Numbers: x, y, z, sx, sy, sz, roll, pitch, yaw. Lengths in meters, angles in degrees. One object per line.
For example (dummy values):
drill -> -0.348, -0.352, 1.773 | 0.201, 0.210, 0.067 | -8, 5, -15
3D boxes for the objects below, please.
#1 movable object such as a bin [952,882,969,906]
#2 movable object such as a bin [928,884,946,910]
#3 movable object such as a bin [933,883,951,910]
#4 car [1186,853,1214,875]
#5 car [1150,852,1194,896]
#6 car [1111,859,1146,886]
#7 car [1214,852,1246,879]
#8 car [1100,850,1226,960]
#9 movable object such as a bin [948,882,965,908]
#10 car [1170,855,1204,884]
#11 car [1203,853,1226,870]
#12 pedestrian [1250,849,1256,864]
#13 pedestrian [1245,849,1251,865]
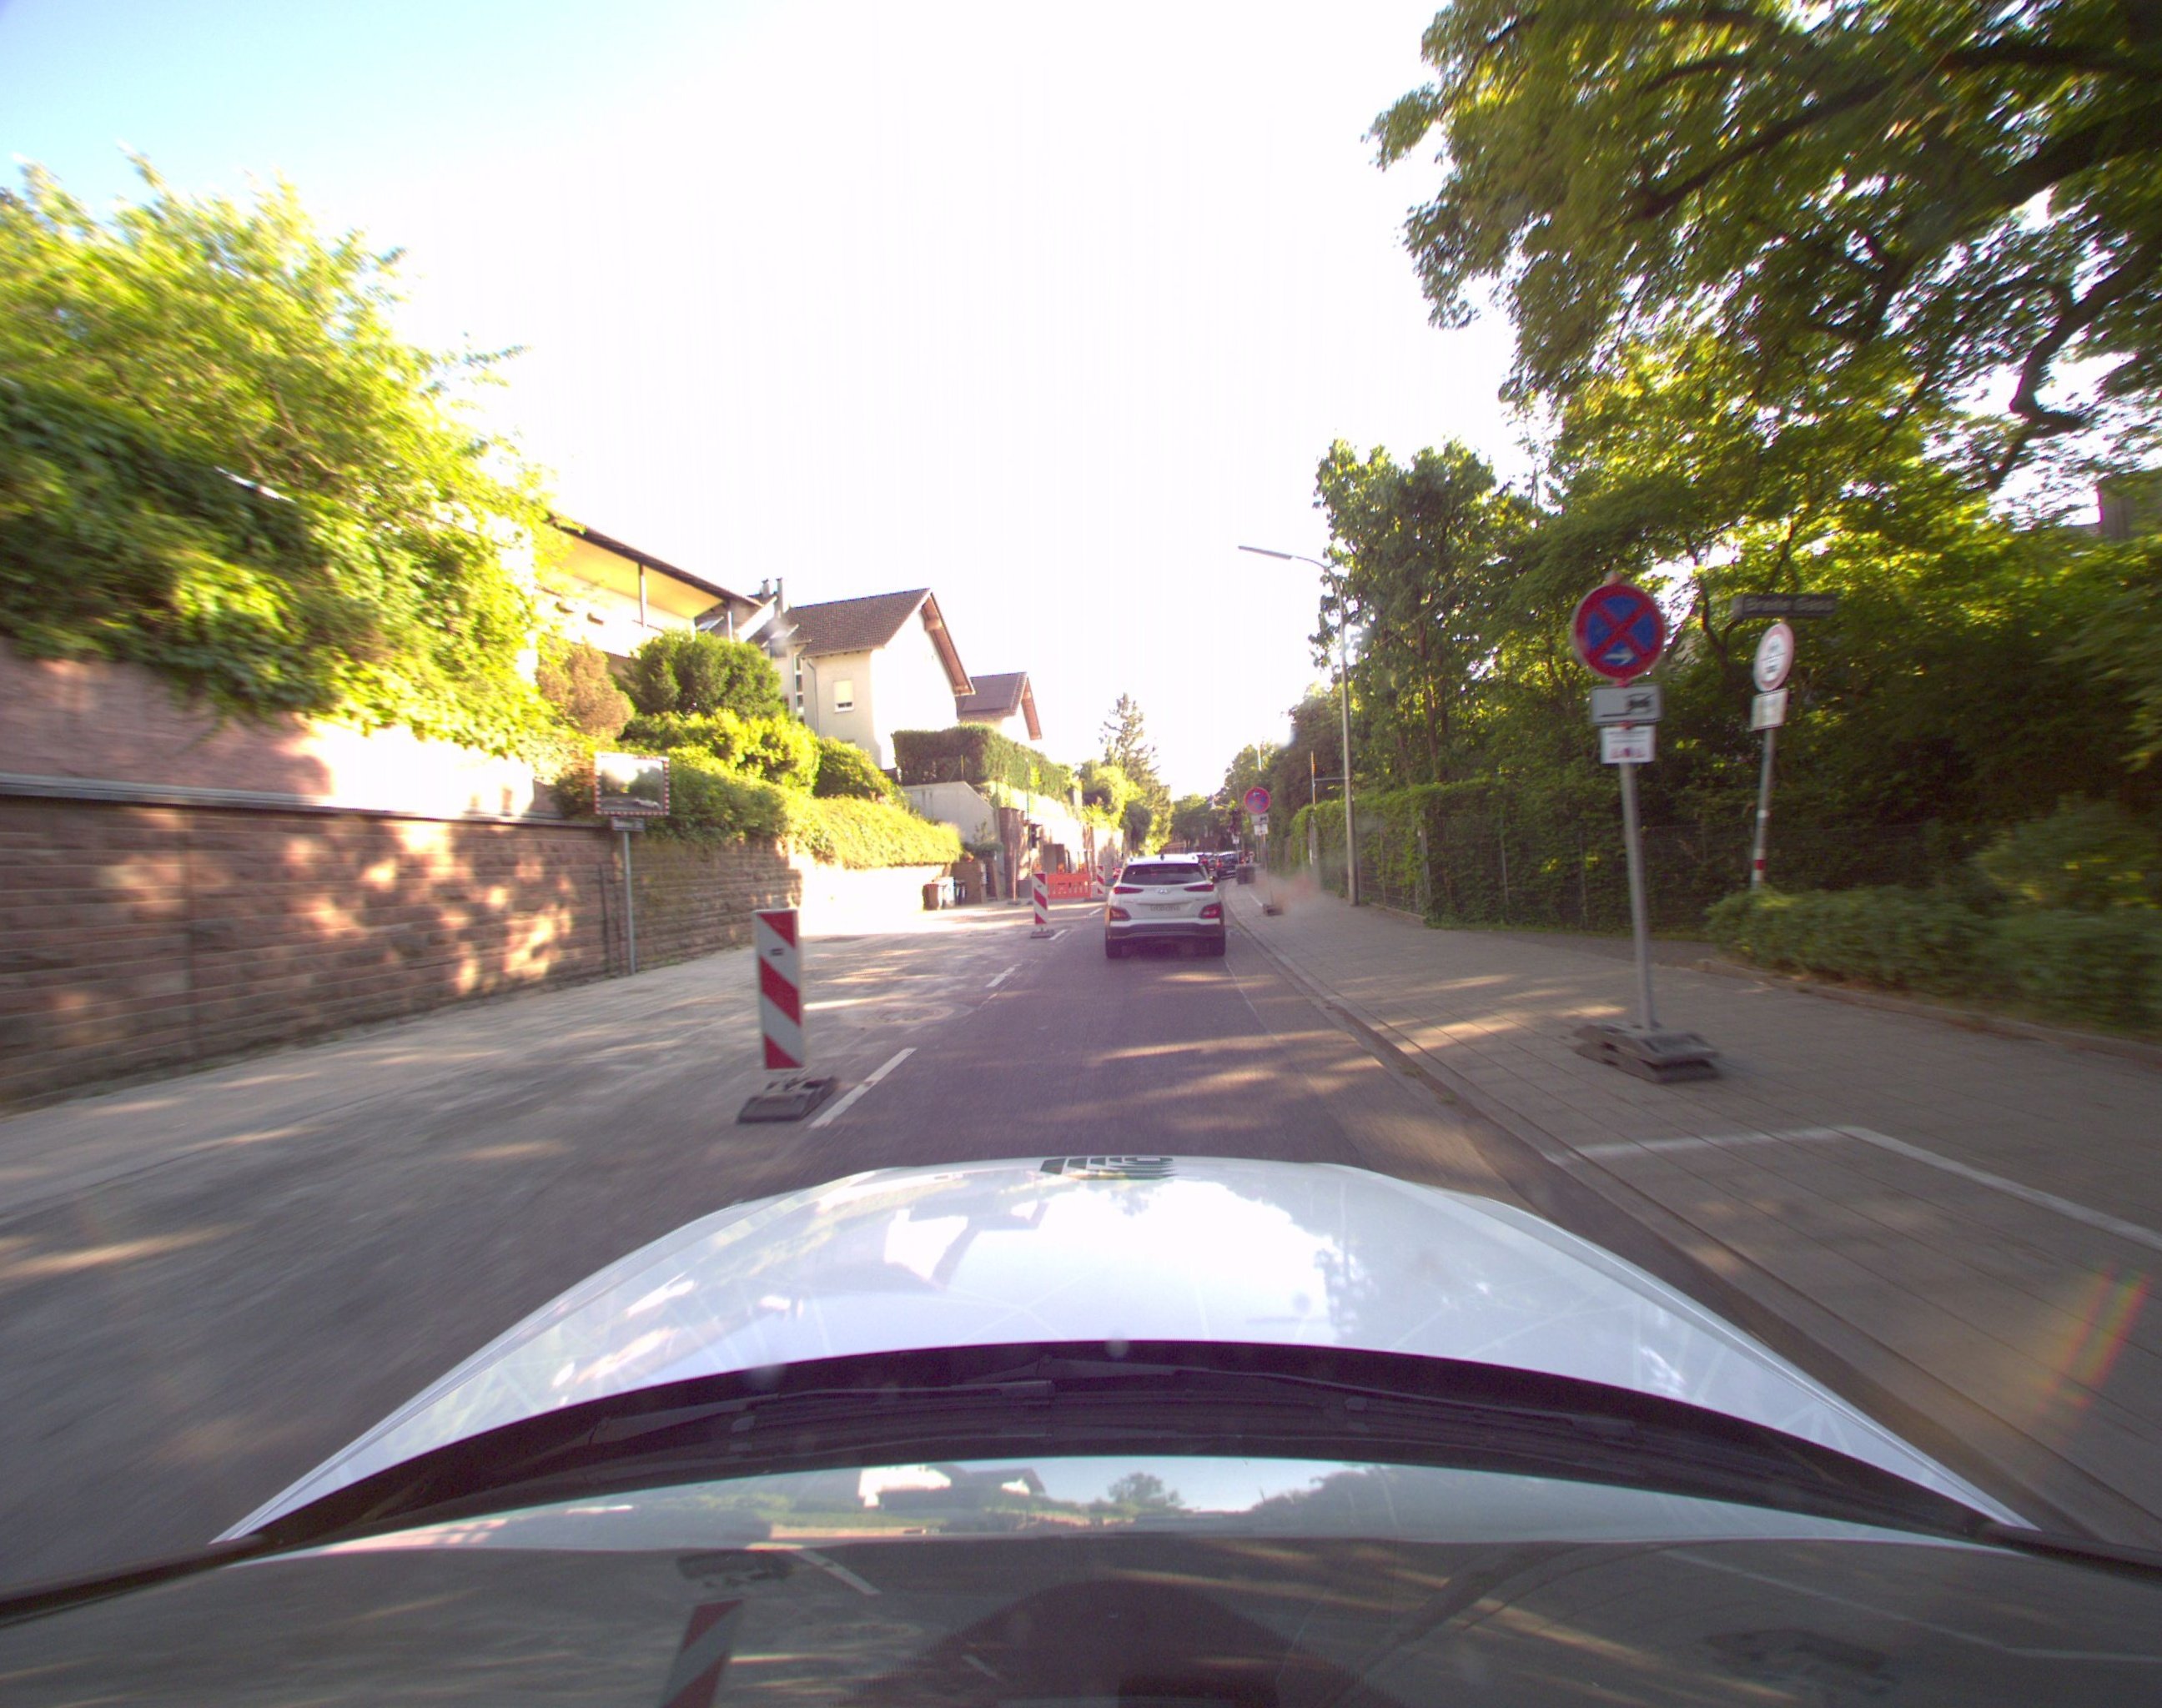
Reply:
movable object such as a bin -> -4.468, 1.477, 30.112 | 0.453, 0.884, 0.502 | -2, -1, 9
movable object such as a bin -> -4.879, 1.447, 27.585 | 0.451, 0.834, 0.393 | -3, -1, 9
movable object such as a bin -> -4.795, 1.448, 28.050 | 0.453, 0.884, 0.502 | -2, -1, 9
car -> 8.728, 0.720, 59.591 | 1.682, 1.533, 3.894 | -2, 0, 12
car -> 3.640, 0.751, 32.133 | 1.503, 1.533, 3.556 | -3, -1, 9
car -> 2.879, 1.087, 48.329 | 1.617, 1.422, 3.572 | -4, -1, 9
car -> 8.814, 0.654, 48.110 | 1.783, 1.441, 4.012 | -2, 0, 11
car -> 1.391, 0.749, 13.728 | 1.763, 1.542, 4.007 | -2, -1, 6
movable object such as a bin -> -4.520, 1.492, 29.577 | 0.453, 0.884, 0.502 | -2, -1, 9
car -> 5.870, 0.822, 44.921 | 1.560, 1.477, 3.559 | -2, -1, 11
car -> 12.253, 0.680, 74.659 | 1.682, 1.447, 3.896 | -2, 0, 13
pedestrian -> 18.346, 0.290, 86.915 | 0.500, 1.569, 0.505 | -6, -2, 11
pedestrian -> 17.761, 0.317, 86.767 | 0.500, 1.606, 0.493 | -6, -2, 11
